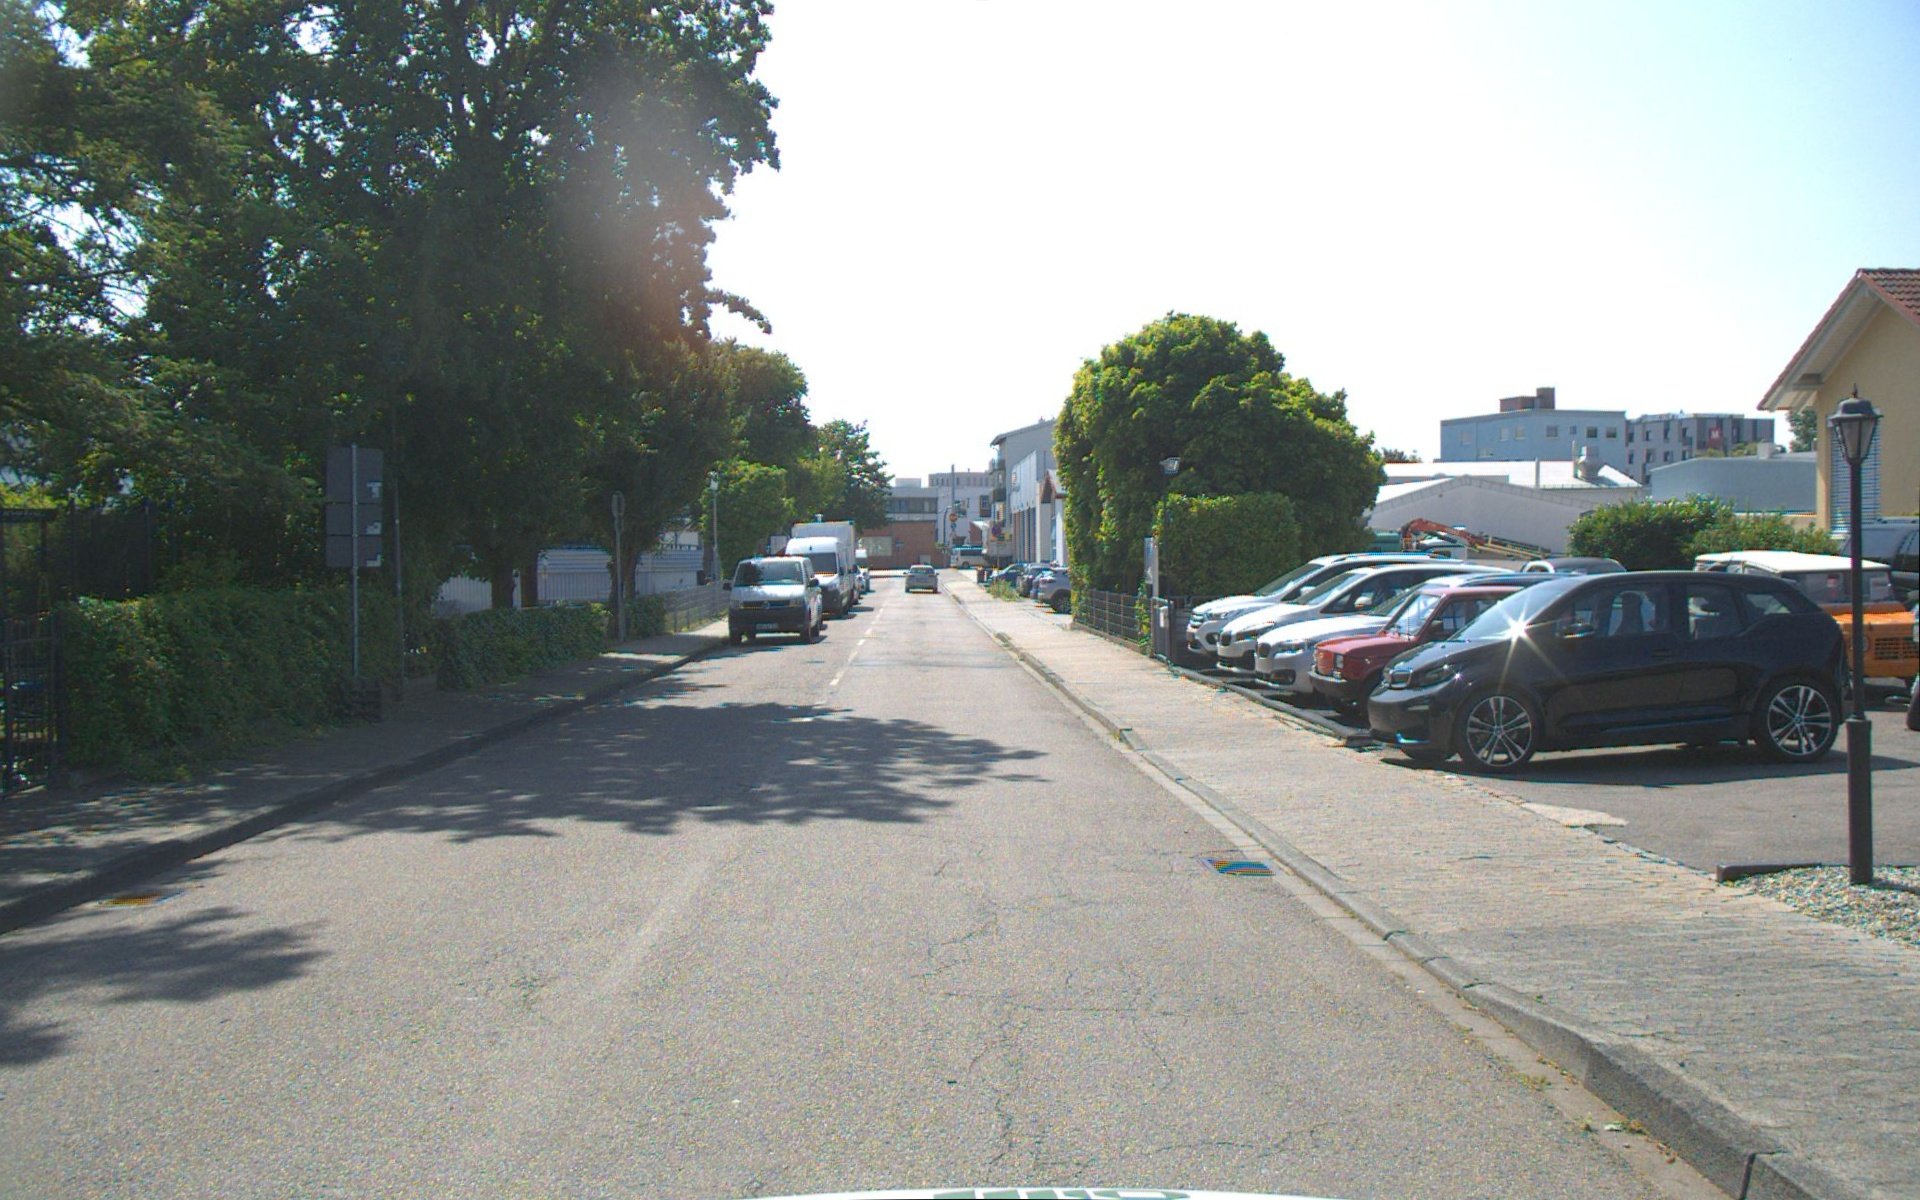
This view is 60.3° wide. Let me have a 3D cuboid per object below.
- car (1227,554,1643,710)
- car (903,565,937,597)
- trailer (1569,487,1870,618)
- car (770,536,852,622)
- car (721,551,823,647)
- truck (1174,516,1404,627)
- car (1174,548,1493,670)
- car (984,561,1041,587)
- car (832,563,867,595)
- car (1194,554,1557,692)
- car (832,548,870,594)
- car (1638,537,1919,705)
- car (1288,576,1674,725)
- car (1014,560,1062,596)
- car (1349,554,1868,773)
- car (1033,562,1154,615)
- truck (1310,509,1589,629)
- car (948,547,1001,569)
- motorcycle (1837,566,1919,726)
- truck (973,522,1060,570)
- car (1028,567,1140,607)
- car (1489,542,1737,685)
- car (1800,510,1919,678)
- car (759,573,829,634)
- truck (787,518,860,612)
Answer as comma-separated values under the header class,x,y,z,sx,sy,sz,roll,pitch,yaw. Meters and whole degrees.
class,x,y,z,sx,sy,sz,roll,pitch,yaw
car,5.558,0.343,19.643,4.320,1.523,1.894,-3,0,-8
car,-2.235,-1.071,91.707,1.852,1.714,3.956,-1,1,-2
trailer,24.137,-1.485,52.903,8.159,3.930,3.069,-1,1,3
car,-4.918,-0.718,55.573,2.124,2.641,6.919,-2,1,-1
car,-4.421,-0.061,39.602,1.932,2.048,5.055,-3,1,-2
truck,11.331,-0.998,57.389,7.367,3.482,2.526,2,1,-2
car,5.520,0.109,24.757,4.316,1.682,1.842,-1,1,-4
car,3.064,-1.505,96.508,3.187,1.423,1.673,-1,2,-2
car,-5.995,-1.147,89.271,1.672,1.652,3.968,-2,2,-6
car,5.543,0.287,22.322,4.320,1.554,1.894,-3,0,-8
car,-6.187,-1.699,94.432,1.966,2.407,5.226,-4,2,-4
car,9.906,0.184,19.601,1.954,1.758,3.998,-1,1,-3
car,5.325,0.488,17.151,3.479,1.358,1.558,-2,0,-4
car,3.701,-1.081,79.370,1.821,1.595,4.950,-1,2,-2
car,5.424,0.489,14.138,3.727,1.652,1.758,-1,1,-4
car,4.808,-0.422,59.884,4.117,1.711,1.766,2,1,-3
truck,15.641,-0.995,53.265,8.105,3.674,2.954,0,1,1
car,1.357,-3.963,155.868,4.587,1.991,1.905,-2,2,-21
motorcycle,9.984,0.387,15.990,2.635,1.458,1.007,-2,1,-13
truck,5.008,-4.833,147.739,7.222,3.708,2.763,-4,2,-8
car,4.930,-0.519,66.016,4.265,1.466,1.891,-1,1,-3
car,9.237,0.171,23.746,1.953,1.892,3.787,0,0,-2
car,12.670,-0.097,20.155,1.955,2.048,4.901,-2,1,-6
car,-4.648,0.057,46.773,1.680,1.570,4.398,-3,1,-3
truck,-5.404,-1.363,65.447,2.633,3.425,7.123,-2,1,-5
